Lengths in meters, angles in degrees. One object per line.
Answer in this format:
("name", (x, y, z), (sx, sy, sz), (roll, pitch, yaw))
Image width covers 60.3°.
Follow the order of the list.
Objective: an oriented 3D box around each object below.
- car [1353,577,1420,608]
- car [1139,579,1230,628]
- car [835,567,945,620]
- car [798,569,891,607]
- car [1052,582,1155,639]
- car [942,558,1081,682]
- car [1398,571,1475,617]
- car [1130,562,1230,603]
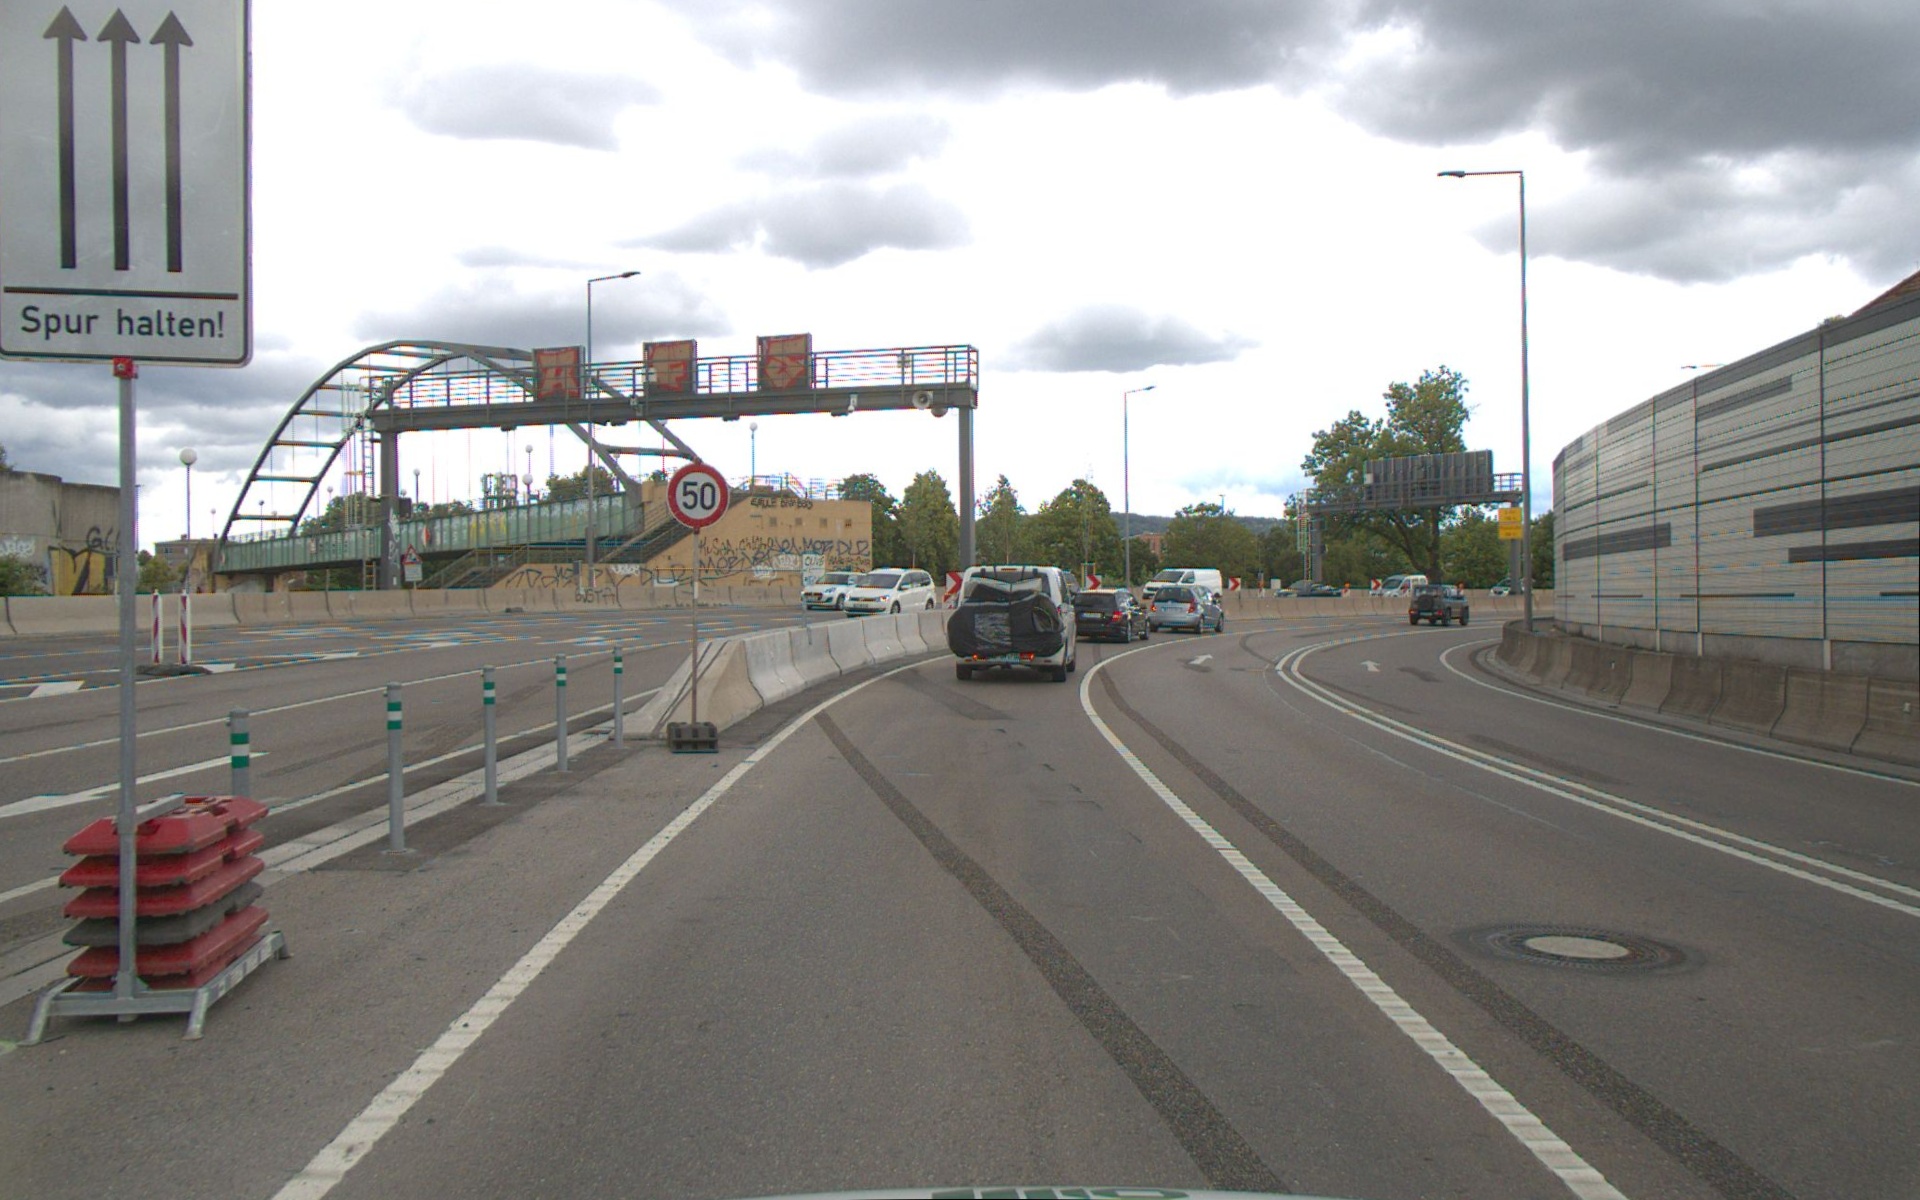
("car", (24.730, -0.454, 95.752), (1.966, 1.715, 4.231), (1, 1, 43))
("car", (7.402, 0.092, 54.284), (1.882, 1.514, 4.063), (0, 1, 24))
("car", (-2.356, -0.225, 57.703), (1.910, 1.780, 5.275), (0, 0, 21))
("car", (-4.513, -0.457, 65.170), (1.727, 1.459, 4.138), (0, 0, 29))
("car", (4.003, 0.260, 45.454), (1.777, 1.459, 4.066), (-1, 0, 20))
("car", (0.994, 0.300, 28.339), (1.951, 1.891, 5.645), (0, 0, 6))
("car", (20.232, -0.237, 70.138), (1.960, 1.892, 3.985), (0, 0, 36))
("car", (10.940, -0.861, 81.902), (5.062, 1.986, 2.210), (0, 1, -43))
